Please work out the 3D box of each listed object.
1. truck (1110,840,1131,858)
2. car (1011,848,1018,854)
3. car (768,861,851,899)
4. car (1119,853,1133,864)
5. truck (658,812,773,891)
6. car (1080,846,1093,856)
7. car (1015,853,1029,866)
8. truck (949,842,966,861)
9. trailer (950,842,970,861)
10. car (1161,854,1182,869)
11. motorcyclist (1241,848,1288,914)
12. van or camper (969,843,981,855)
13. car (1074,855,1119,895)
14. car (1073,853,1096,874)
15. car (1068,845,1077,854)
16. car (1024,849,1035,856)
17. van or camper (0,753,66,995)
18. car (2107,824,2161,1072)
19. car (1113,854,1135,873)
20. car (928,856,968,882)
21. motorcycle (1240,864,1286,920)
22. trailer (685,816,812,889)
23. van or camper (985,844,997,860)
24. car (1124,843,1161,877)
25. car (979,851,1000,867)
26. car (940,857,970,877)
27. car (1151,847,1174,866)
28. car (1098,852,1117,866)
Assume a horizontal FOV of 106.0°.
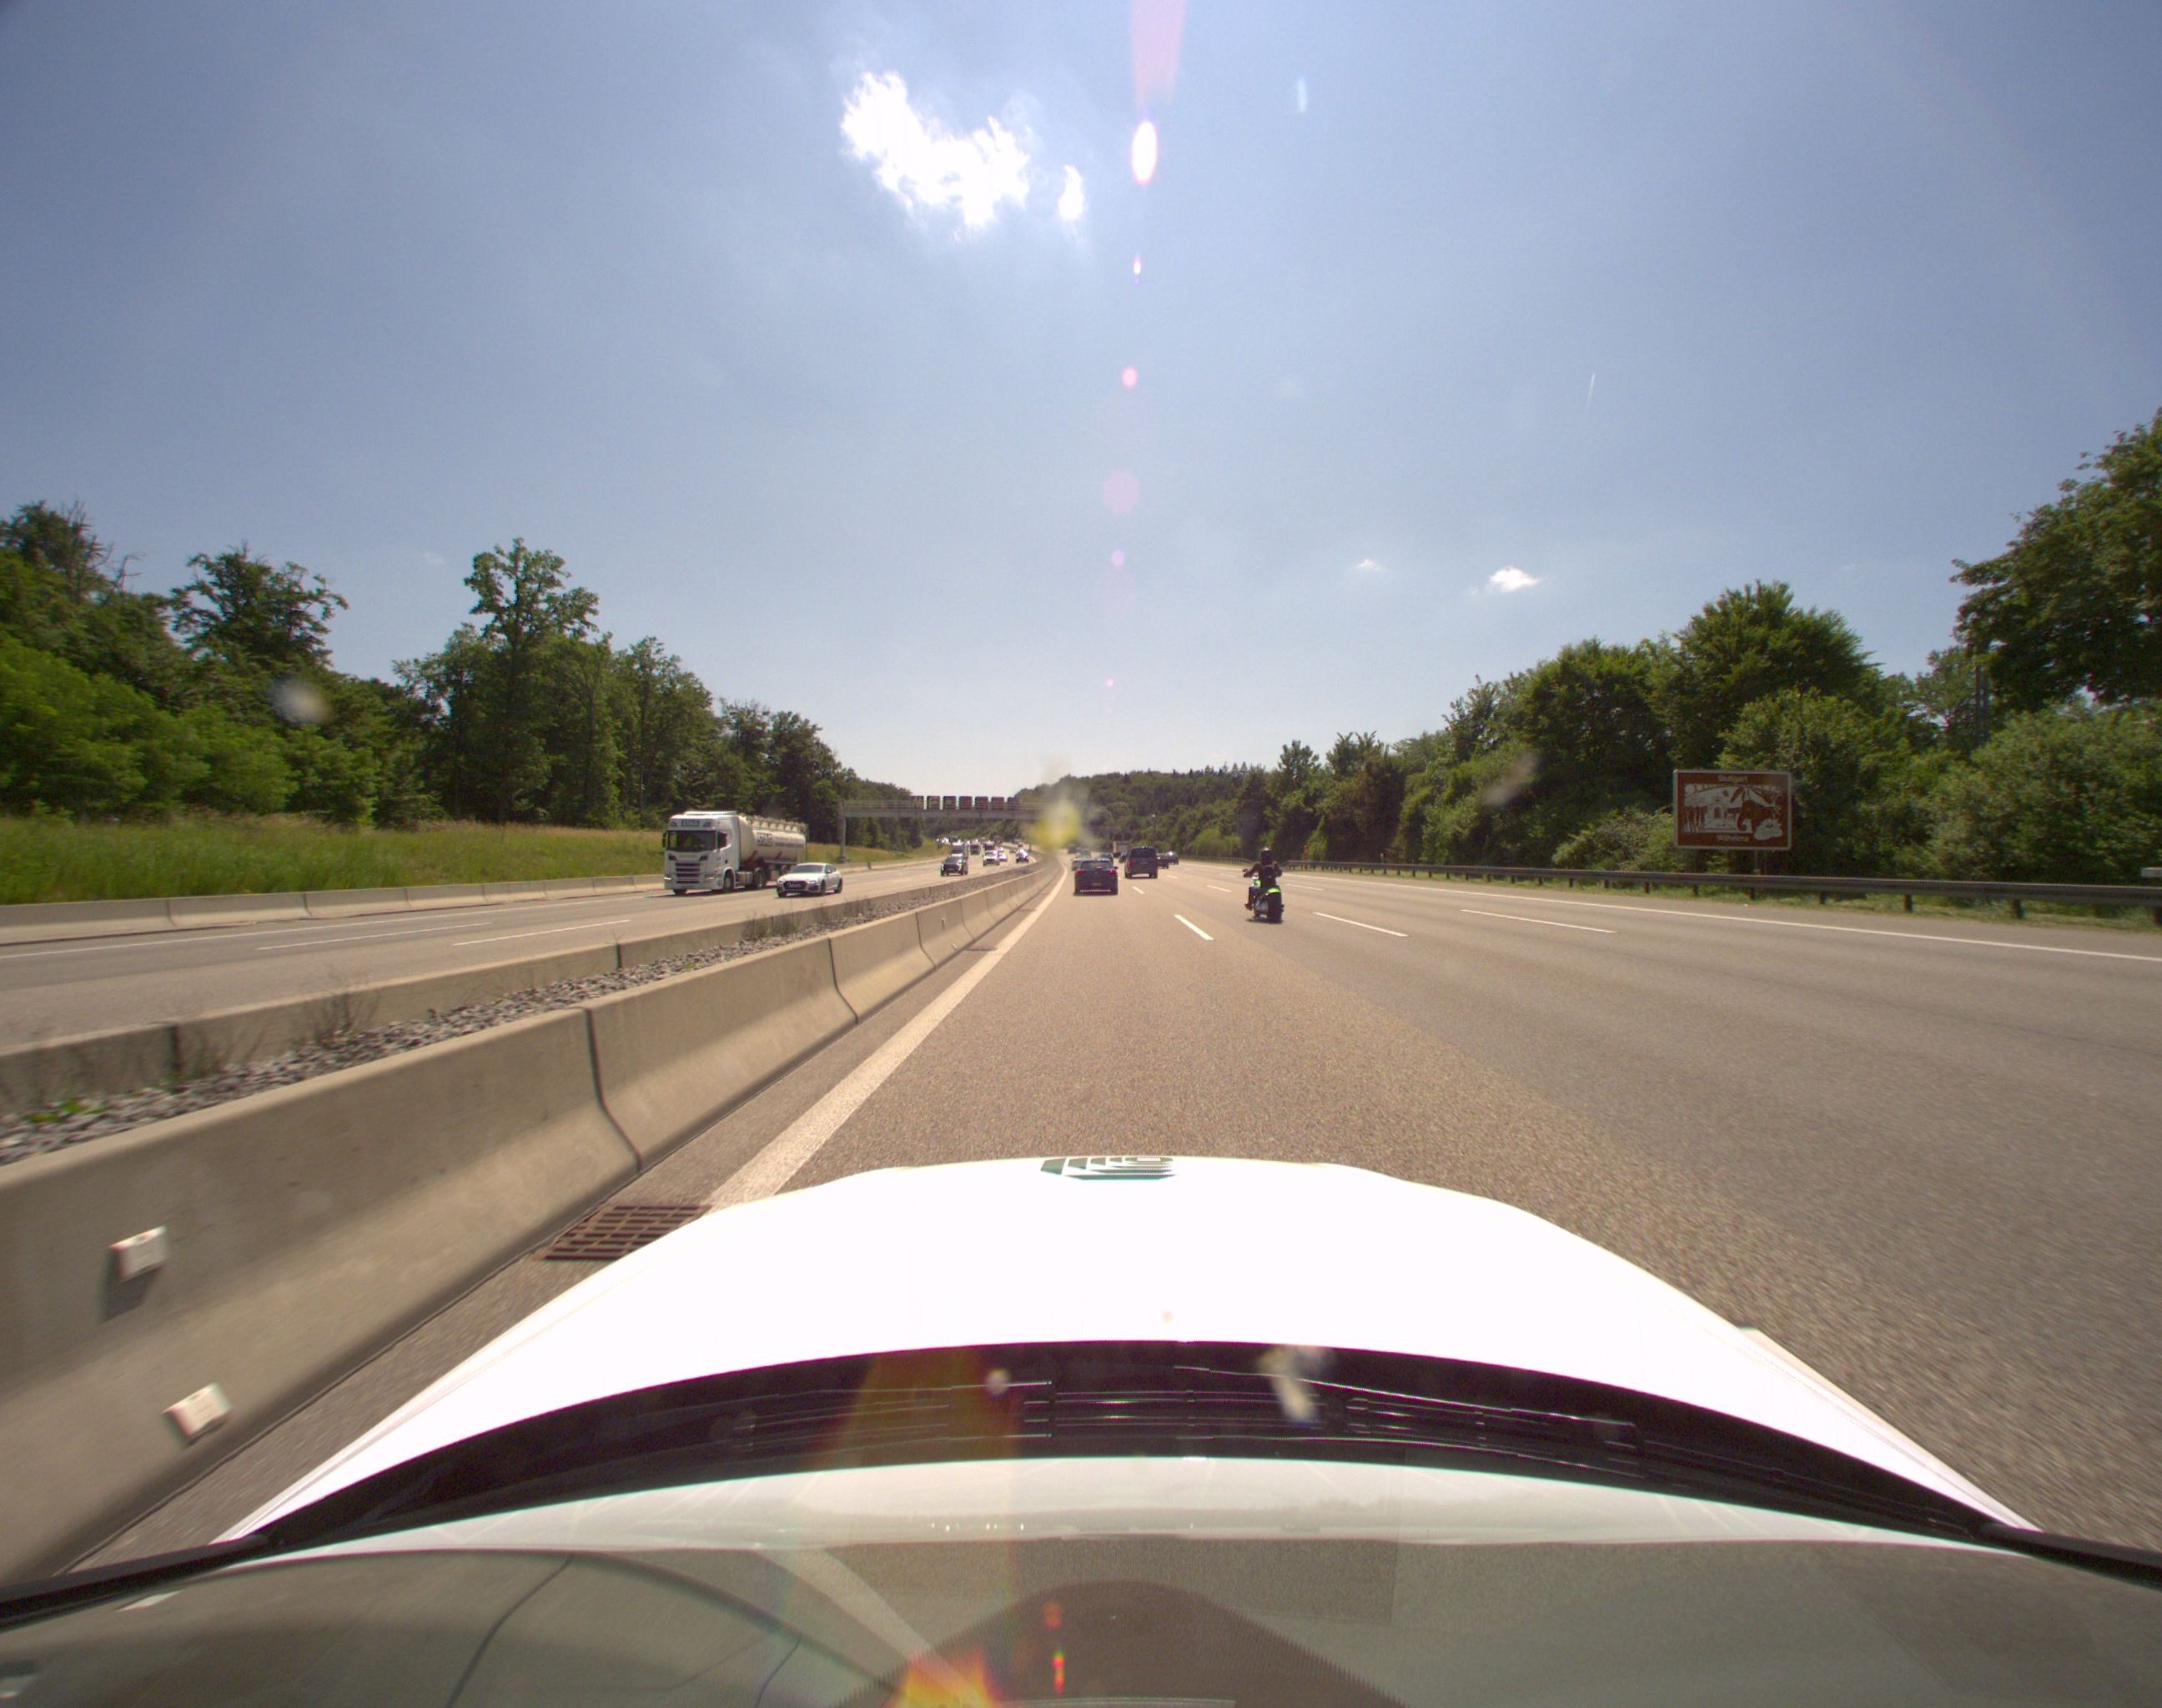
[{"bbox_3d":[7.611,-0.974,156.608,2.981,3.166,7.560,-1,1,-6],"label":"truck"},{"bbox_3d":[-19.837,-0.965,243.271,1.988,1.590,4.840,-1,0,-2],"label":"car"},{"bbox_3d":[-11.668,1.071,35.440,1.988,1.459,5.044,-1,0,-1],"label":"car"},{"bbox_3d":[6.100,0.609,111.015,1.660,1.408,4.903,-1,2,0],"label":"car"},{"bbox_3d":[-17.716,-0.073,39.997,2.695,3.543,6.618,0,-1,-1],"label":"truck"},{"bbox_3d":[0.993,-0.595,147.500,2.098,1.744,4.683,-1,1,-3],"label":"car"},{"bbox_3d":[-8.845,0.819,123.042,1.989,2.014,3.995,0,-1,-3],"label":"car"},{"bbox_3d":[-21.020,-0.461,138.811,2.482,3.166,4.397,0,0,-3],"label":"truck"},{"bbox_3d":[-21.234,-0.403,143.795,2.469,3.154,10.468,0,-1,-3],"label":"trailer"},{"bbox_3d":[10.665,0.861,96.320,1.988,1.728,3.998,-1,0,-1],"label":"car"},{"bbox_3d":[4.154,0.594,18.499,0.849,1.427,1.023,-1,1,1],"label":"motorcyclist"},{"bbox_3d":[-29.414,-1.442,226.094,2.758,3.125,8.084,0,-1,-3],"label":"van or camper"},{"bbox_3d":[0.667,0.803,33.071,1.701,1.433,4.002,0,1,2],"label":"car"},{"bbox_3d":[0.350,0.891,75.673,2.005,1.846,4.000,-1,-2,1],"label":"car"},{"bbox_3d":[-2.128,-1.287,216.040,2.257,2.371,4.702,-1,1,0],"label":"car"},{"bbox_3d":[-10.942,-0.388,173.302,2.042,1.442,5.217,-1,0,-2],"label":"car"},{"bbox_3d":[-14.490,0.255,6.828,2.548,2.931,7.354,-1,0,2],"label":"van or camper"},{"bbox_3d":[7.421,0.546,2.977,1.743,1.519,4.485,-1,-1,1],"label":"car"},{"bbox_3d":[3.979,0.890,75.378,1.937,1.712,4.002,0,-1,2],"label":"car"},{"bbox_3d":[-9.587,1.052,59.133,2.281,1.728,5.026,-1,0,-2],"label":"car"},{"bbox_3d":[4.155,0.829,18.782,0.534,1.135,2.437,-1,1,1],"label":"motorcycle"},{"bbox_3d":[-17.707,0.008,44.429,2.643,3.535,10.490,0,-1,0],"label":"trailer"},{"bbox_3d":[-20.836,-0.506,188.733,2.425,3.678,7.749,-1,0,-3],"label":"van or camper"},{"bbox_3d":[3.903,0.423,52.711,1.957,2.034,5.081,-1,-1,0],"label":"car"},{"bbox_3d":[-12.109,0.626,107.877,2.189,2.055,7.136,-1,0,-2],"label":"car"},{"bbox_3d":[-10.068,1.037,65.393,1.670,1.526,4.609,0,-1,0],"label":"car"},{"bbox_3d":[7.742,0.277,77.747,1.843,1.728,4.001,-1,0,1],"label":"car"},{"bbox_3d":[3.263,0.609,101.123,1.989,1.728,4.144,-1,0,-3],"label":"car"}]
